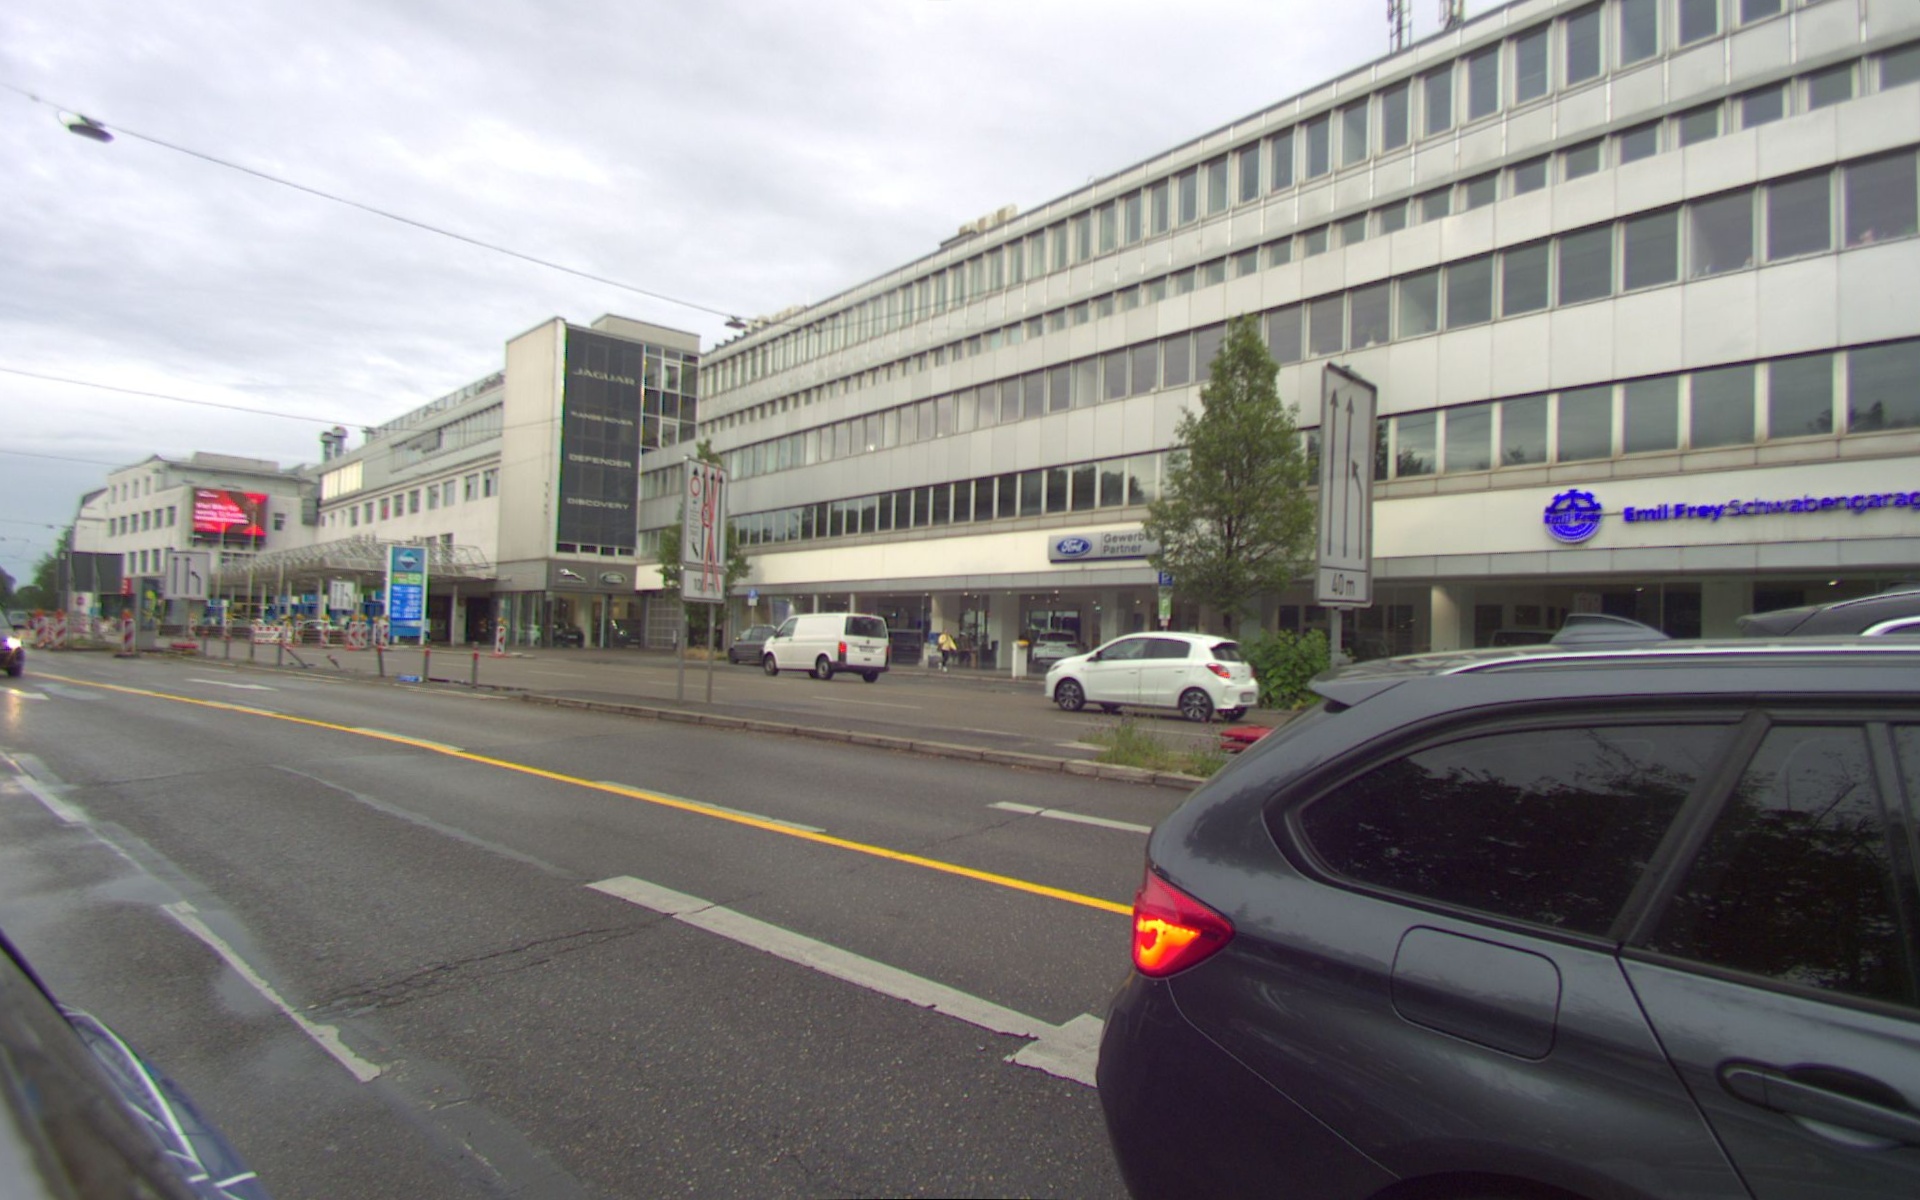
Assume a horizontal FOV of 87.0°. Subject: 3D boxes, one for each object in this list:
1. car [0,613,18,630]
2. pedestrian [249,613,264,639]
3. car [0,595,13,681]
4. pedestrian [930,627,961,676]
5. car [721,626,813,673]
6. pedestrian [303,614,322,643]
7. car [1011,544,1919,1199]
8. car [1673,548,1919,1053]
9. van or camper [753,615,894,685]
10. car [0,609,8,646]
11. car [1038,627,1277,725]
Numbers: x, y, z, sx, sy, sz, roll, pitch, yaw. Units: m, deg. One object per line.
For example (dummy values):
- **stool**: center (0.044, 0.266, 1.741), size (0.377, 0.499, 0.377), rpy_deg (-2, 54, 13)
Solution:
- **car**: center (-97.969, 2.215, 103.878), size (3.378, 1.657, 1.587), rpy_deg (-1, 0, 42)
- **pedestrian**: center (-51.341, 1.870, 73.836), size (0.881, 1.828, 0.943), rpy_deg (-1, 0, -35)
- **car**: center (-22.531, 0.841, 22.434), size (4.429, 1.828, 1.880), rpy_deg (-1, 0, 42)
- **pedestrian**: center (-0.539, 1.912, 38.066), size (0.750, 1.788, 0.865), rpy_deg (-1, 0, -42)
- **car**: center (-8.283, 2.072, 43.277), size (1.895, 1.829, 4.169), rpy_deg (-1, 0, -44)
- **pedestrian**: center (-42.537, 1.860, 66.465), size (0.882, 1.828, 0.942), rpy_deg (-1, 0, -45)
- **car**: center (2.340, 0.694, 1.076), size (4.476, 1.469, 1.757), rpy_deg (-1, -3, 42)
- **car**: center (4.906, 0.641, 2.921), size (4.445, 1.668, 1.789), rpy_deg (-1, 0, 44)
- **van or camper**: center (-4.194, 1.453, 30.534), size (1.912, 1.938, 4.690), rpy_deg (2, -3, -41)
- **car**: center (-44.025, 1.251, 45.325), size (3.948, 1.629, 1.747), rpy_deg (-1, 0, 43)
- **car**: center (3.426, 1.279, 17.852), size (3.760, 1.544, 1.783), rpy_deg (-1, -4, 39)
